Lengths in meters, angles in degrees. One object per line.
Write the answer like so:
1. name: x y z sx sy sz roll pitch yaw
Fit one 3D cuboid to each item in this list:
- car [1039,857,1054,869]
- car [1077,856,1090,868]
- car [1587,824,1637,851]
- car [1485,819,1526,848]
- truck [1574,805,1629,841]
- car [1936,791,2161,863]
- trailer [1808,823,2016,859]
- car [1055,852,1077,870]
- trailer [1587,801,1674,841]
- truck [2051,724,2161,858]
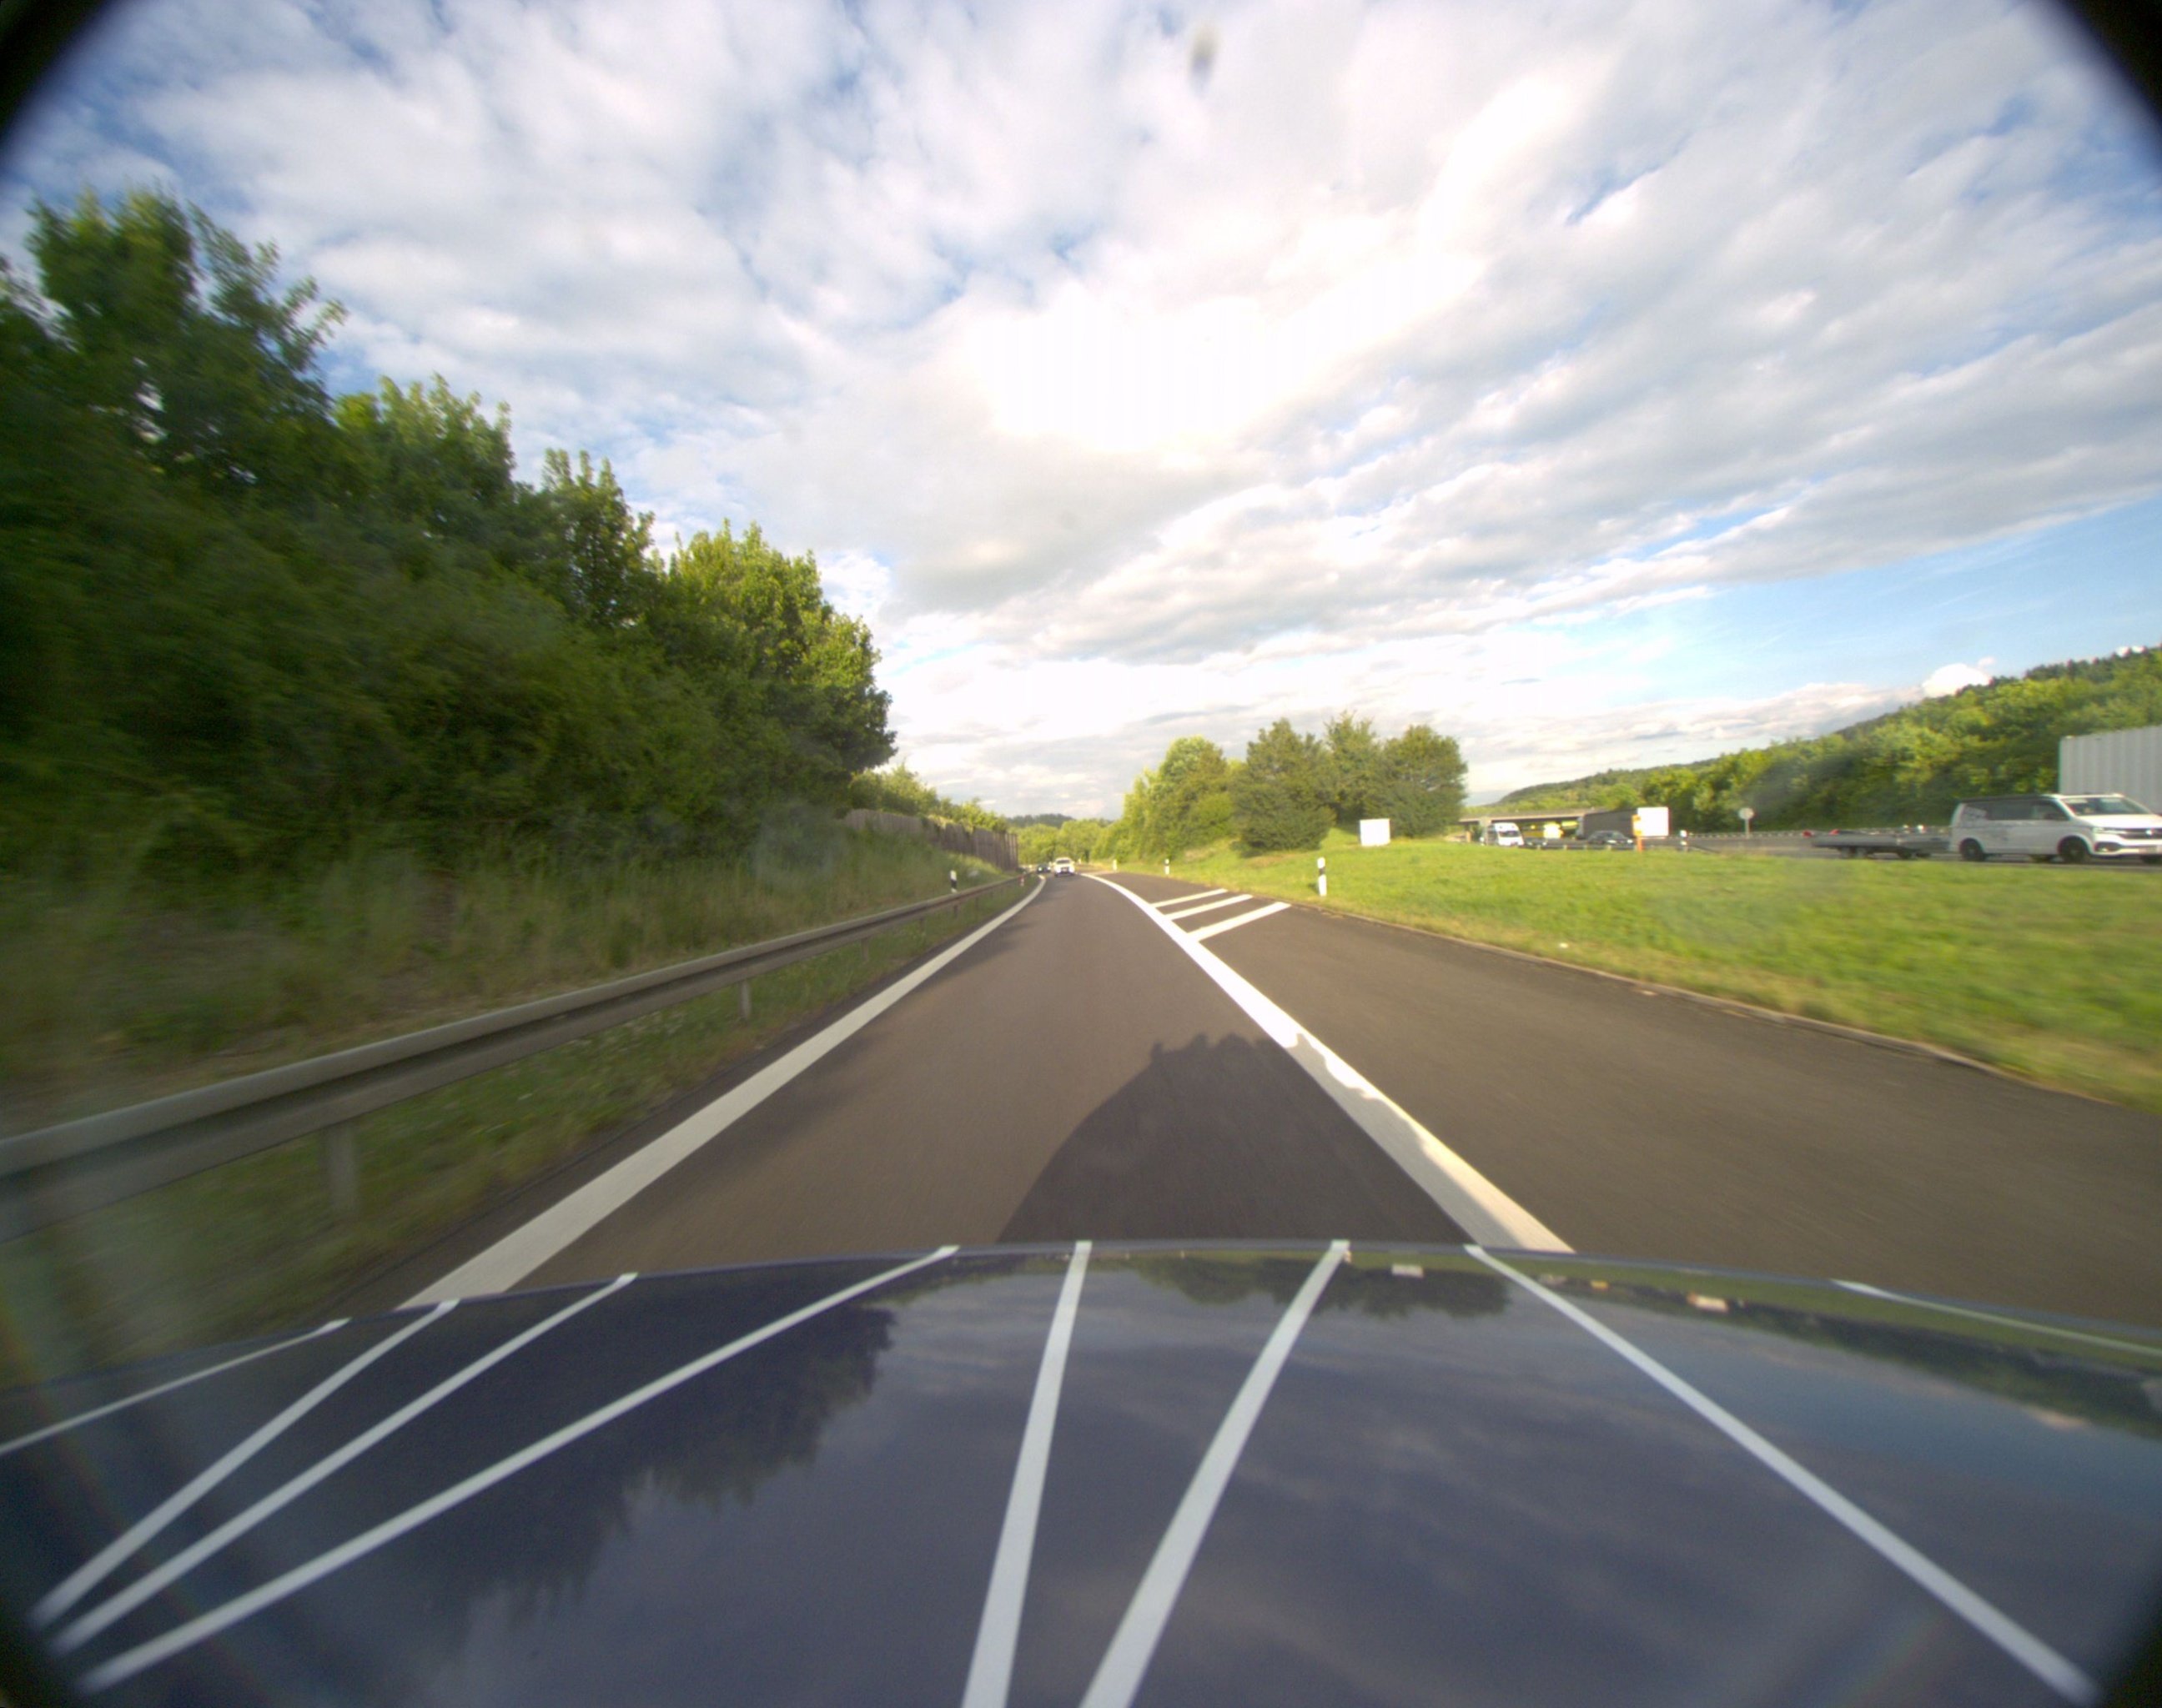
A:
1. car: -5.207 1.350 114.247 1.808 1.706 3.998 -3 -1 -7
2. car: 0.317 1.137 111.131 1.620 1.452 3.661 -5 2 -3
3. car: 40.823 -1.239 58.534 1.878 1.923 4.093 -2 1 15
4. car: 39.889 -1.909 71.499 1.996 2.535 5.788 -2 1 15
5. truck: 61.294 -3.547 89.688 2.948 3.865 7.093 -3 0 14
6. car: 27.772 -0.737 21.676 1.996 1.766 4.905 -2 1 13
7. trailer: 29.030 -0.457 26.918 1.996 1.029 5.887 -3 0 13
8. car: -1.440 0.747 74.388 1.904 1.654 4.002 -1 -2 2
9. trailer: 59.646 -3.431 83.005 2.948 3.865 12.985 -3 0 14
10. truck: 32.223 -1.849 20.310 2.773 3.883 8.888 -2 1 13
